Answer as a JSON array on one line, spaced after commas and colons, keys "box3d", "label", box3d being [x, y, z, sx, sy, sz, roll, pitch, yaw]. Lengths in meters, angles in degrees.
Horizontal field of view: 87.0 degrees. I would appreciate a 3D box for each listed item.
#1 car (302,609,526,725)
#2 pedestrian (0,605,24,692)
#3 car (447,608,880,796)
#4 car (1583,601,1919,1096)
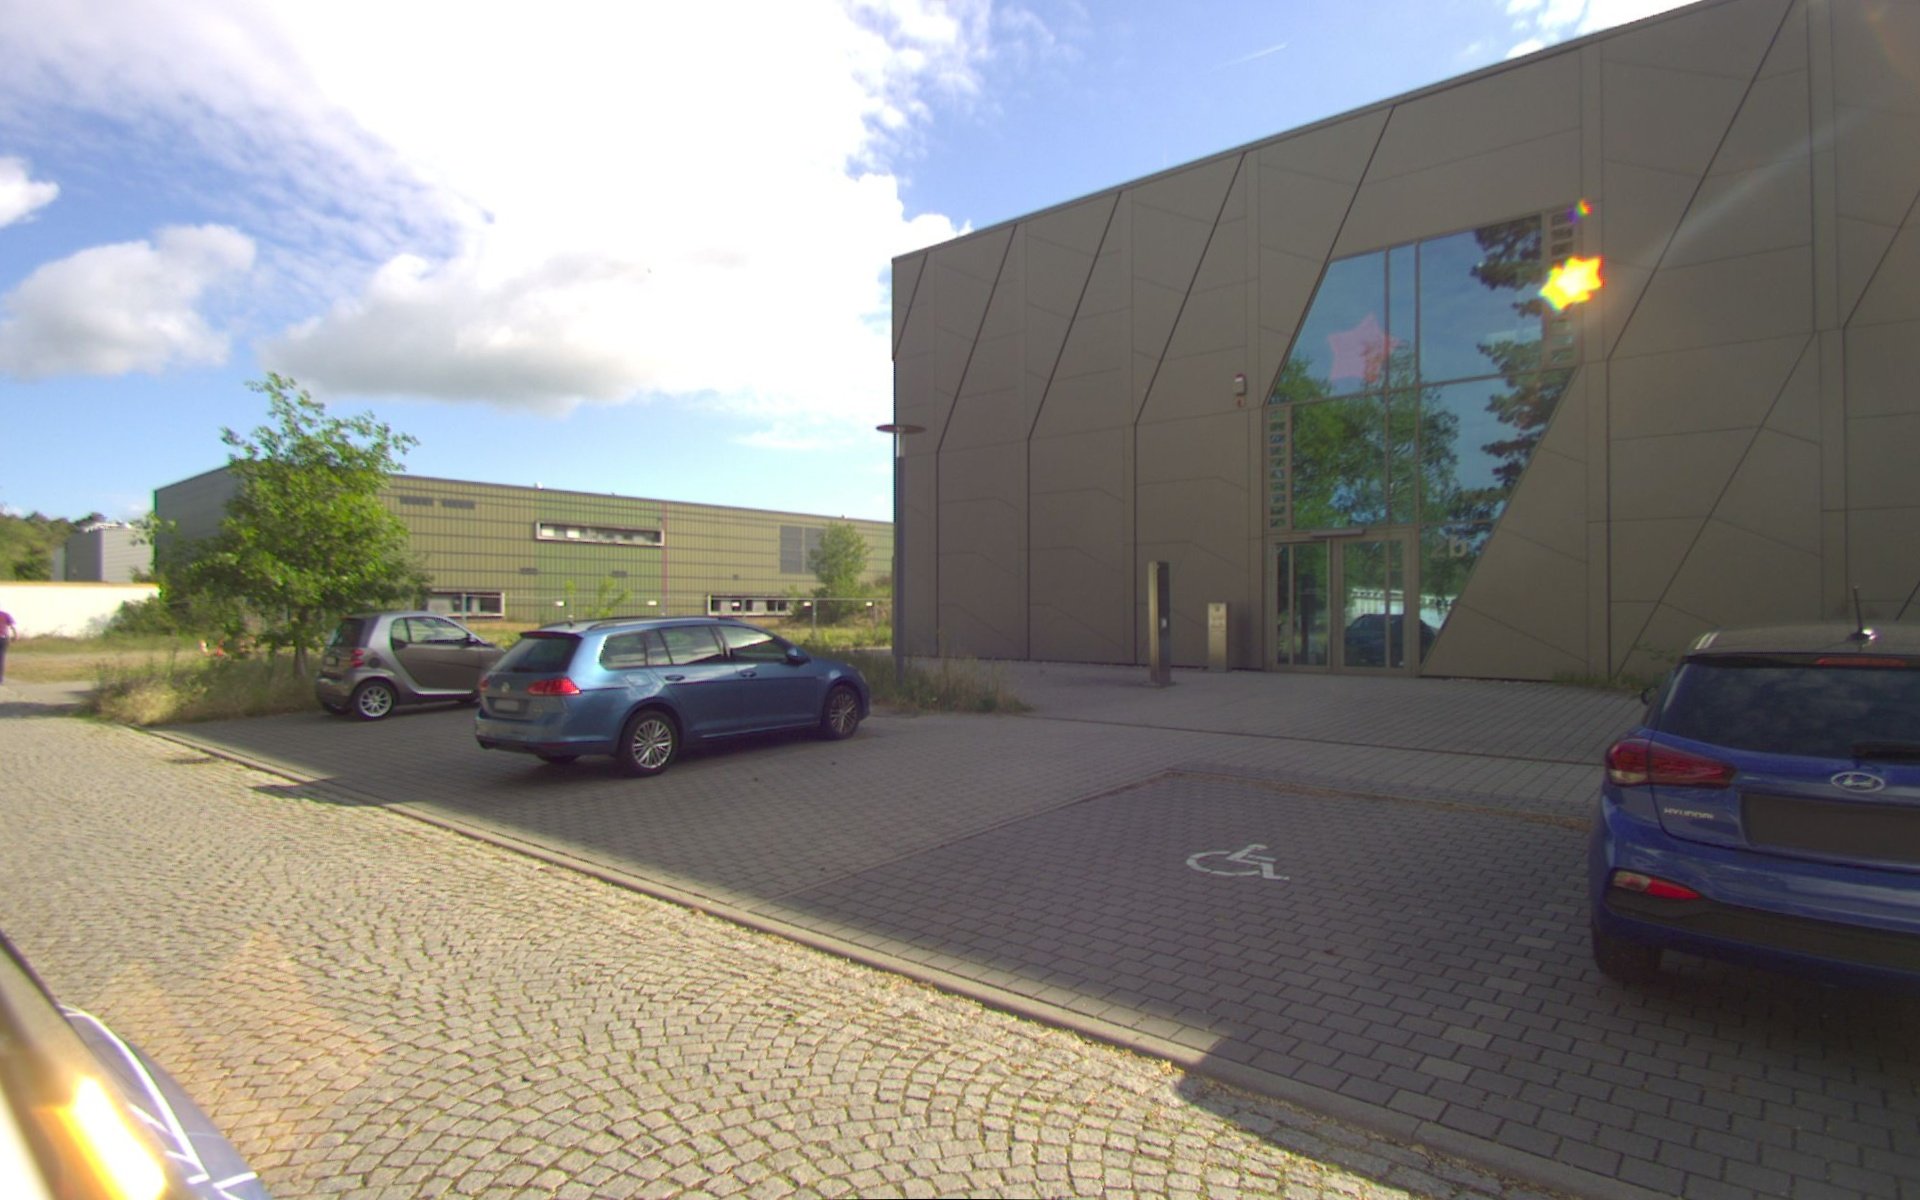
[{"box3d": [-8.380, 0.953, 15.653, 1.517, 1.554, 2.672, -1, 1, 39], "label": "car"}, {"box3d": [-20.302, 1.003, 21.213, 1.151, 1.785, 0.797, -1, -1, 36], "label": "pedestrian"}, {"box3d": [-2.901, 0.891, 10.742, 1.678, 1.475, 4.216, -1, 0, 38], "label": "car"}, {"box3d": [4.256, 0.781, 4.596, 1.720, 1.475, 3.794, -1, 1, 43], "label": "car"}]
